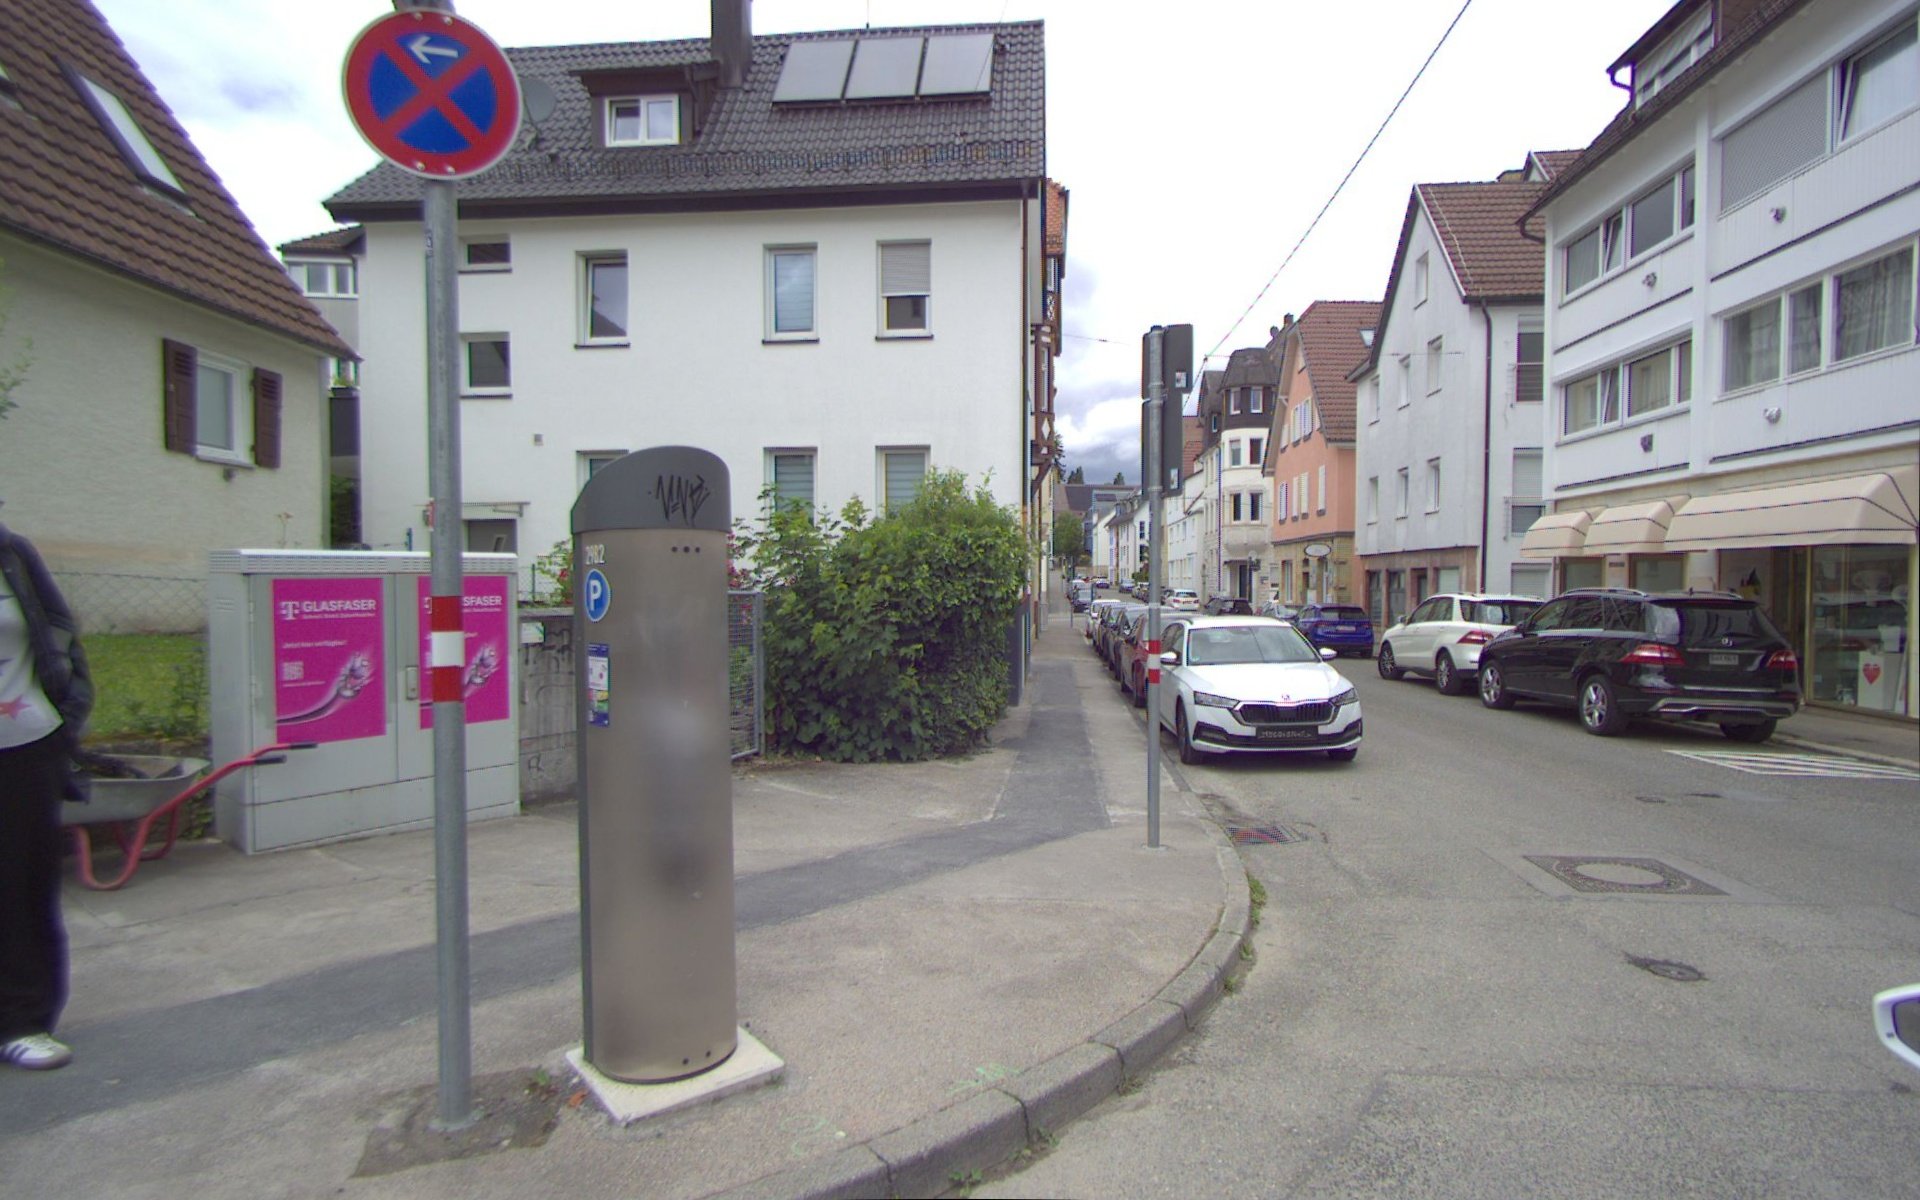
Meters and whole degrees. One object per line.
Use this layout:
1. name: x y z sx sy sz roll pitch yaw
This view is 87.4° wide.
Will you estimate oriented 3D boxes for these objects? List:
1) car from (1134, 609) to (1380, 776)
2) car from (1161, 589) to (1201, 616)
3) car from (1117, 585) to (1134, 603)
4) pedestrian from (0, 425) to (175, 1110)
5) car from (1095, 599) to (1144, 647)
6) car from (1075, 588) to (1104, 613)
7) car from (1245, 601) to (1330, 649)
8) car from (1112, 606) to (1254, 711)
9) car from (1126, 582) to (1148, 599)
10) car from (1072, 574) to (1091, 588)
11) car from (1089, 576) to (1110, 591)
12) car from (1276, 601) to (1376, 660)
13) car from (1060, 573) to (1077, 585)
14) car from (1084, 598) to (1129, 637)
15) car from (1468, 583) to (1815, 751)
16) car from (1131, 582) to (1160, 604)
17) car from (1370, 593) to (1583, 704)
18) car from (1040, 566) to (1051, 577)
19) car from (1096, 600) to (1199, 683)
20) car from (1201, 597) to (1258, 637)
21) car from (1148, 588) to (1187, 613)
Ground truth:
1. car: 3.166 0.891 11.617 1.763 1.480 4.297 -2 0 3
2. car: 14.054 0.135 64.128 1.737 1.546 3.902 1 3 1
3. car: 16.991 -0.632 103.162 1.552 1.782 3.212 1 -1 6
4. pedestrian: -2.632 0.412 2.692 0.637 1.707 0.603 3 1 30
5. car: 5.101 0.706 32.382 1.261 1.377 3.806 -1 1 5
6. car: 8.334 -0.010 64.944 1.646 1.484 4.001 2 2 5
7. car: 10.765 0.788 33.296 1.719 1.409 4.033 1 1 4
8. car: 3.553 0.871 16.700 1.738 1.436 4.173 -2 0 5
9. car: 14.974 -0.842 84.940 1.384 1.324 2.901 1 3 2
10. car: 16.154 -2.543 133.657 1.859 1.668 3.971 2 2 -4
11. car: 17.014 -2.040 122.335 1.731 1.689 3.997 2 2 -3
12. car: 10.226 0.798 28.329 1.744 1.495 3.784 1 0 5
13. car: 16.203 -3.105 150.165 1.859 1.626 3.712 2 2 -4
14. car: 5.774 0.660 39.872 1.559 1.441 3.402 -1 0 5
15. car: 8.693 0.748 13.391 1.908 1.803 4.371 2 0 5
16. car: 14.645 -0.567 79.484 1.699 1.596 3.833 1 2 2
17. car: 9.229 0.761 18.419 1.901 1.735 4.378 1 1 4
18. car: 17.165 -5.688 201.466 1.791 1.949 3.749 2 3 0
19. car: 3.876 0.793 21.320 1.738 1.515 3.983 -2 0 5
20. car: 11.786 0.712 44.168 1.683 1.570 3.803 2 1 4
21. car: 14.280 0.001 69.365 1.922 1.595 4.000 1 1 1
